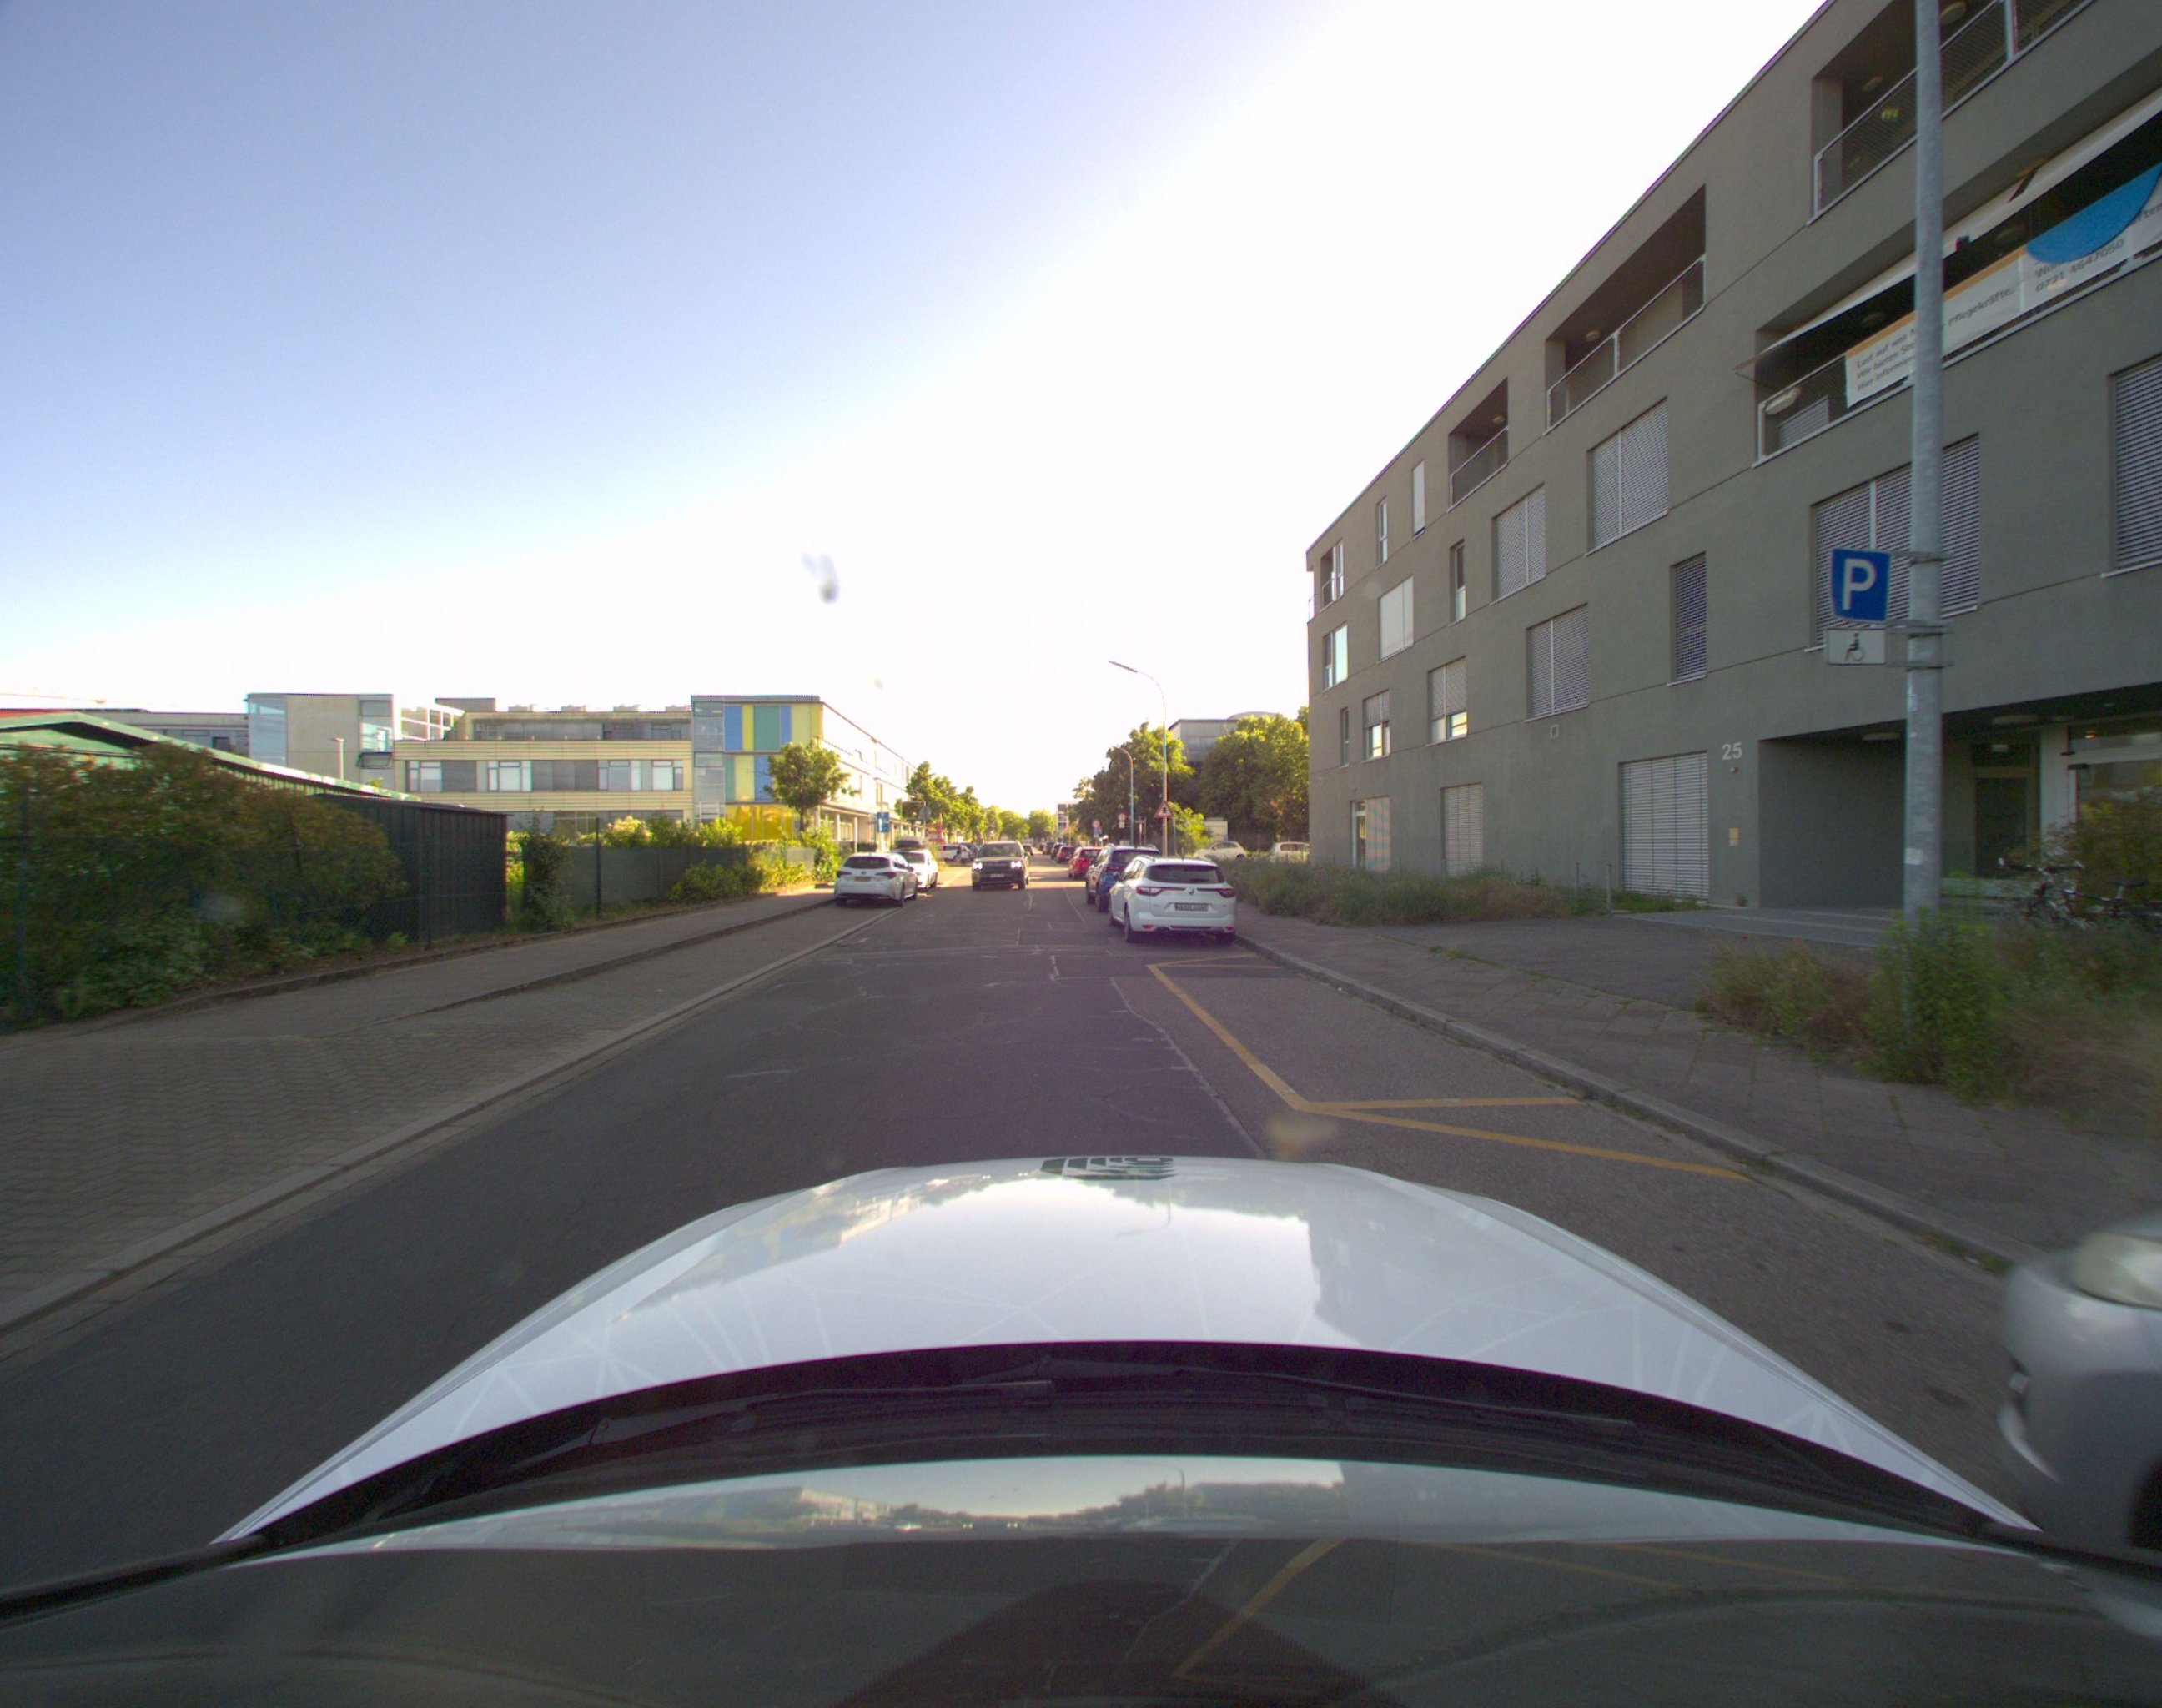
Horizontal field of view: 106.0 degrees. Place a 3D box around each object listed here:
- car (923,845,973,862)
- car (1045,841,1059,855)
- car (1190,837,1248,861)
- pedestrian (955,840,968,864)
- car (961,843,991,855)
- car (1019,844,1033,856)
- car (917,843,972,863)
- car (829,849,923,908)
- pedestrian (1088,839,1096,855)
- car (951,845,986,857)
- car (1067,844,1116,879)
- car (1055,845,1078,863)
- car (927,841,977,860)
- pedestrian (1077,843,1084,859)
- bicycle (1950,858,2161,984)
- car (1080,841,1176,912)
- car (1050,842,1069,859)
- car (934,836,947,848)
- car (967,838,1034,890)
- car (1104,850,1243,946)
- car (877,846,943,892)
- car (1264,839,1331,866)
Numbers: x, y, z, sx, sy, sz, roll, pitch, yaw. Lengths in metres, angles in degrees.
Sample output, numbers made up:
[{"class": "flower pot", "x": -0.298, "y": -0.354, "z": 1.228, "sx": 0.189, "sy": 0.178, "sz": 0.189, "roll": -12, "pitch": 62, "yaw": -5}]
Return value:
[{"class": "car", "x": -12.266, "y": -0.026, "z": 75.363, "sx": 4.425, "sy": 1.501, "sz": 1.825, "roll": -1, "pitch": 0, "yaw": -4}, {"class": "car", "x": -3.969, "y": -0.869, "z": 110.571, "sx": 1.729, "sy": 1.830, "sz": 3.900, "roll": -1, "pitch": 1, "yaw": -4}, {"class": "car", "x": 9.142, "y": -0.329, "z": 54.190, "sx": 3.539, "sy": 1.486, "sz": 1.598, "roll": -1, "pitch": 1, "yaw": -4}, {"class": "pedestrian", "x": -9.612, "y": -0.165, "z": 65.476, "sx": 0.855, "sy": 1.842, "sz": 0.825, "roll": 1, "pitch": 0, "yaw": -3}, {"class": "car", "x": -14.646, "y": -0.716, "z": 113.638, "sx": 4.211, "sy": 1.603, "sz": 1.867, "roll": 1, "pitch": 1, "yaw": -8}, {"class": "car", "x": -7.147, "y": -0.574, "z": 106.011, "sx": 1.739, "sy": 1.543, "sz": 3.997, "roll": 0, "pitch": 1, "yaw": -2}, {"class": "car", "x": -12.131, "y": -0.085, "z": 72.570, "sx": 4.598, "sy": 1.651, "sz": 1.867, "roll": -1, "pitch": 0, "yaw": -1}, {"class": "car", "x": -5.723, "y": 0.627, "z": 23.243, "sx": 1.743, "sy": 1.446, "sz": 4.536, "roll": 1, "pitch": 1, "yaw": -4}, {"class": "pedestrian", "x": 1.210, "y": -0.788, "z": 87.909, "sx": 0.697, "sy": 1.661, "sz": 0.750, "roll": -2, "pitch": 1, "yaw": -5}, {"class": "car", "x": -13.360, "y": -0.327, "z": 96.758, "sx": 3.984, "sy": 1.358, "sz": 1.738, "roll": 1, "pitch": 1, "yaw": -8}, {"class": "car", "x": 0.410, "y": 0.298, "z": 37.316, "sx": 1.815, "sy": 1.499, "sz": 4.445, "roll": 1, "pitch": 1, "yaw": -5}, {"class": "car", "x": -1.250, "y": -0.056, "z": 69.720, "sx": 1.717, "sy": 1.454, "sz": 4.645, "roll": 0, "pitch": 1, "yaw": -5}, {"class": "car", "x": -12.753, "y": -0.363, "z": 80.980, "sx": 4.733, "sy": 1.865, "sz": 1.825, "roll": 1, "pitch": 1, "yaw": -4}, {"class": "pedestrian", "x": -0.060, "y": -0.376, "z": 91.721, "sx": 0.716, "sy": 1.758, "sz": 0.884, "roll": -3, "pitch": 1, "yaw": -4}, {"class": "bicycle", "x": 9.641, "y": 0.590, "z": 7.859, "sx": 0.550, "sy": 1.061, "sz": 1.842, "roll": 0, "pitch": 1, "yaw": 0}, {"class": "car", "x": 1.083, "y": 0.497, "z": 21.030, "sx": 1.814, "sy": 1.599, "sz": 4.620, "roll": 1, "pitch": 1, "yaw": -5}, {"class": "car", "x": -2.277, "y": -0.436, "z": 85.704, "sx": 1.808, "sy": 1.666, "sz": 4.588, "roll": 1, "pitch": 2, "yaw": -3}, {"class": "car", "x": -26.067, "y": -2.243, "z": 151.556, "sx": 1.990, "sy": 2.014, "sz": 3.994, "roll": -1, "pitch": 0, "yaw": -4}, {"class": "car", "x": -2.949, "y": 0.313, "z": 30.733, "sx": 1.936, "sy": 1.727, "sz": 4.838, "roll": -2, "pitch": 1, "yaw": 0}, {"class": "car", "x": 1.494, "y": 0.667, "z": 14.816, "sx": 1.741, "sy": 1.429, "sz": 4.580, "roll": 1, "pitch": 1, "yaw": -3}, {"class": "car", "x": -6.159, "y": 0.471, "z": 29.776, "sx": 1.692, "sy": 1.513, "sz": 4.510, "roll": 1, "pitch": 1, "yaw": -4}, {"class": "car", "x": 12.248, "y": -0.092, "z": 46.196, "sx": 3.315, "sy": 1.458, "sz": 1.715, "roll": -1, "pitch": 1, "yaw": 1}]
